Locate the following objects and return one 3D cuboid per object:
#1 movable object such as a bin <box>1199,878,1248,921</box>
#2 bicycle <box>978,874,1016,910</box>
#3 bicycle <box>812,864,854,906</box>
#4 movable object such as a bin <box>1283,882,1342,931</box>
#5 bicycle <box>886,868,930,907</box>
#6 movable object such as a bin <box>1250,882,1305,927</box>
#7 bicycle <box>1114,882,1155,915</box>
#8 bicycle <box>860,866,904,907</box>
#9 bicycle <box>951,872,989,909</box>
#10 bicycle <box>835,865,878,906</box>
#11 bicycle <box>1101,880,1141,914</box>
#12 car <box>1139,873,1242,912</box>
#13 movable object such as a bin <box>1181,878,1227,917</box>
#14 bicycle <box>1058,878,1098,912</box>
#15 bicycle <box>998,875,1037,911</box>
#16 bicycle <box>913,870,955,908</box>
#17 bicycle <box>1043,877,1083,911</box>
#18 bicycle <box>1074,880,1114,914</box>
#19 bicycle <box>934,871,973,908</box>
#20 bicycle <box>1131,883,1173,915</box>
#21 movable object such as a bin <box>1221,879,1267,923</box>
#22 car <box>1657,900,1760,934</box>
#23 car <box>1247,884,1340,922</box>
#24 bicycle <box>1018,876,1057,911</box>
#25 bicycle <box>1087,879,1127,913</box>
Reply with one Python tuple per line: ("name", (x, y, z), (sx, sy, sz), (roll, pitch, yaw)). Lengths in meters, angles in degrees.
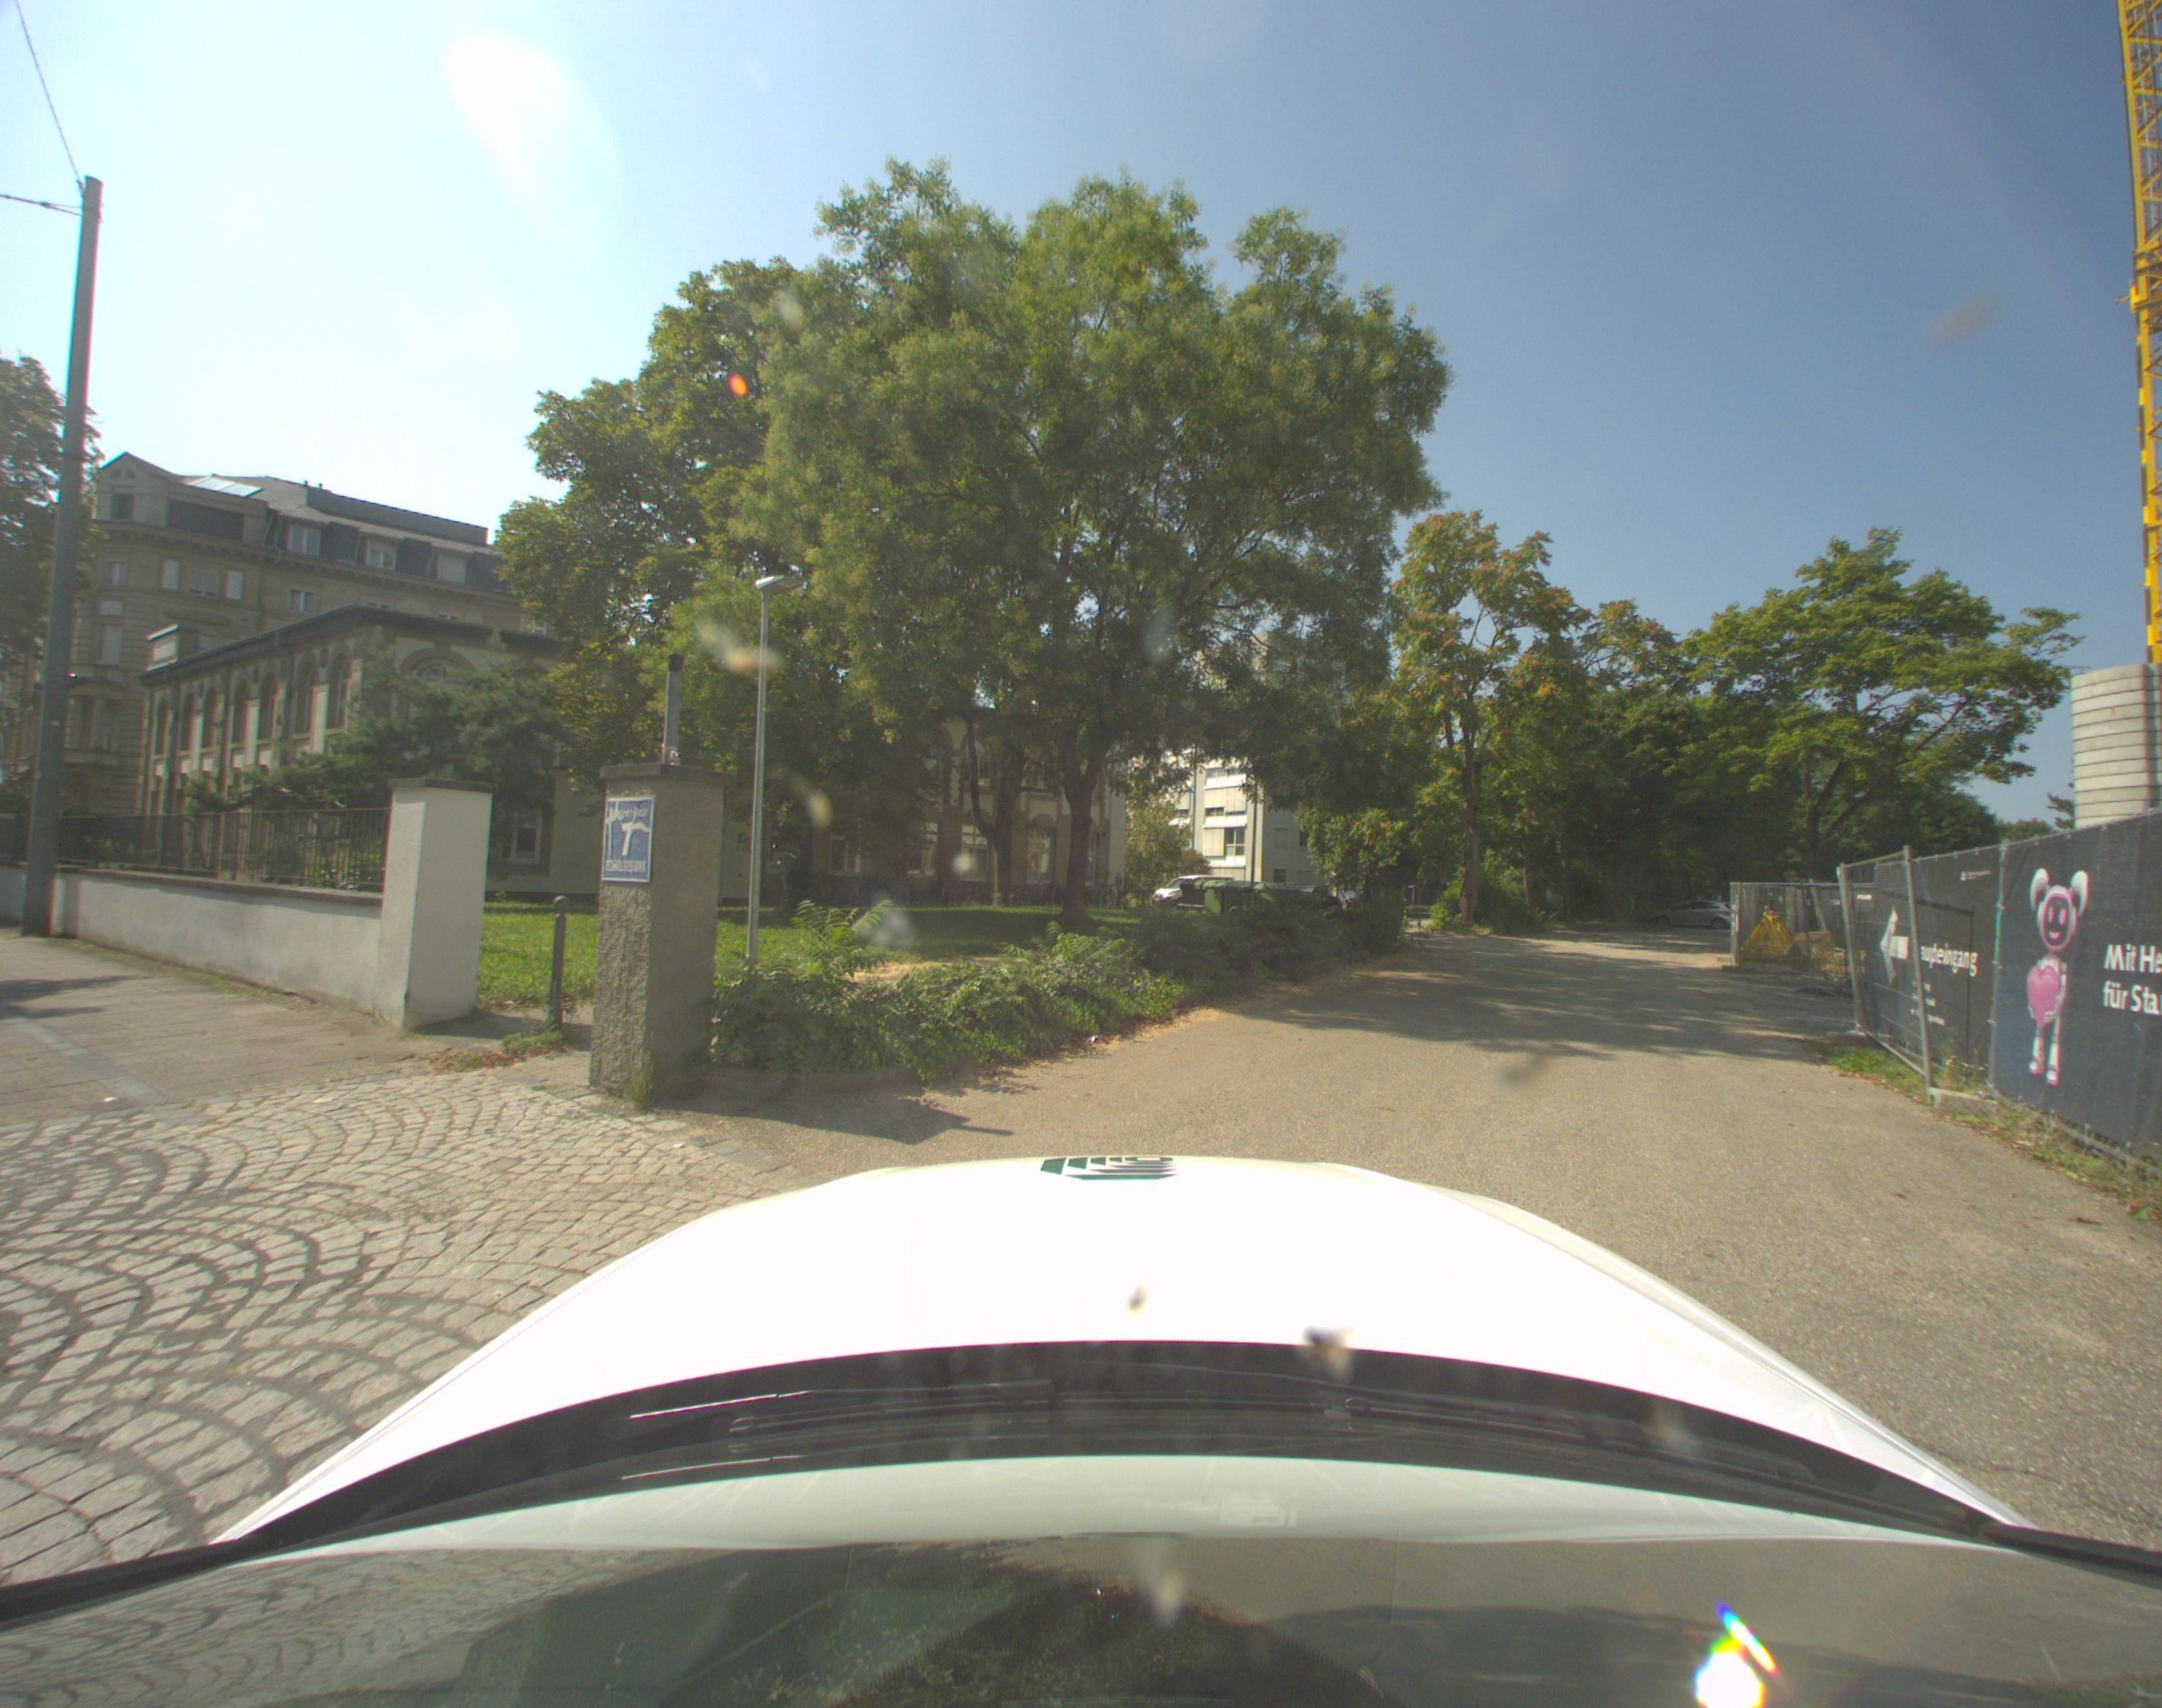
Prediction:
("movable object such as a bin", (5.346, 1.693, 30.516), (1.255, 1.496, 1.193), (5, -2, -38))
("bicycle", (-3.188, 1.410, 30.834), (0.610, 1.303, 2.153), (4, -3, -28))
("bicycle", (-8.221, 1.007, 26.936), (0.774, 1.303, 2.503), (4, -3, -28))
("movable object such as a bin", (7.677, 1.729, 27.024), (1.356, 1.493, 1.343), (2, -3, 44))
("bicycle", (-6.141, 1.178, 28.815), (0.774, 1.303, 2.503), (4, -3, -28))
("movable object such as a bin", (6.831, 1.749, 28.358), (1.255, 1.432, 1.317), (5, -2, -38))
("bicycle", (2.224, 1.822, 33.970), (0.610, 1.303, 2.153), (4, -3, -28))
("bicycle", (-6.875, 1.107, 28.036), (0.774, 1.303, 2.503), (4, -3, -28))
("bicycle", (-4.126, 1.334, 30.141), (0.610, 1.303, 2.153), (4, -3, -28))
("bicycle", (-7.599, 1.047, 27.475), (0.774, 1.303, 2.503), (4, -3, -28))
("bicycle", (1.633, 1.762, 33.626), (0.610, 1.303, 2.153), (4, -3, -28))
("car", (5.970, 2.098, 44.336), (5.098, 1.882, 2.478), (4, -3, -30))
("movable object such as a bin", (4.868, 1.734, 32.233), (1.255, 1.444, 1.193), (5, -2, -38))
("bicycle", (-0.140, 1.611, 32.579), (0.610, 1.303, 2.153), (4, -3, -28))
("bicycle", (-2.434, 1.454, 31.066), (0.610, 1.303, 2.153), (4, -3, -28))
("bicycle", (-5.318, 1.240, 29.321), (0.774, 1.303, 2.252), (4, -3, -28))
("bicycle", (-0.727, 1.562, 32.067), (0.610, 1.303, 2.153), (4, -3, -28))
("bicycle", (0.500, 1.706, 32.830), (0.610, 1.303, 2.153), (4, -3, -28))
("bicycle", (-4.680, 1.286, 29.778), (0.628, 1.303, 2.252), (4, -3, -28))
("bicycle", (2.982, 1.877, 34.407), (0.610, 1.303, 2.153), (4, -3, -28))
("movable object such as a bin", (5.845, 1.697, 29.228), (1.106, 1.482, 1.089), (5, -3, -38))
("car", (35.250, 3.524, 45.867), (2.006, 1.613, 4.121), (4, -2, -30))
("car", (9.735, 2.240, 37.287), (3.919, 1.528, 1.693), (4, -3, -26))
("bicycle", (-1.702, 1.502, 31.541), (0.610, 1.303, 2.153), (4, -3, -28))
("bicycle", (1.045, 1.694, 33.268), (0.610, 1.303, 2.153), (4, -3, -28))
